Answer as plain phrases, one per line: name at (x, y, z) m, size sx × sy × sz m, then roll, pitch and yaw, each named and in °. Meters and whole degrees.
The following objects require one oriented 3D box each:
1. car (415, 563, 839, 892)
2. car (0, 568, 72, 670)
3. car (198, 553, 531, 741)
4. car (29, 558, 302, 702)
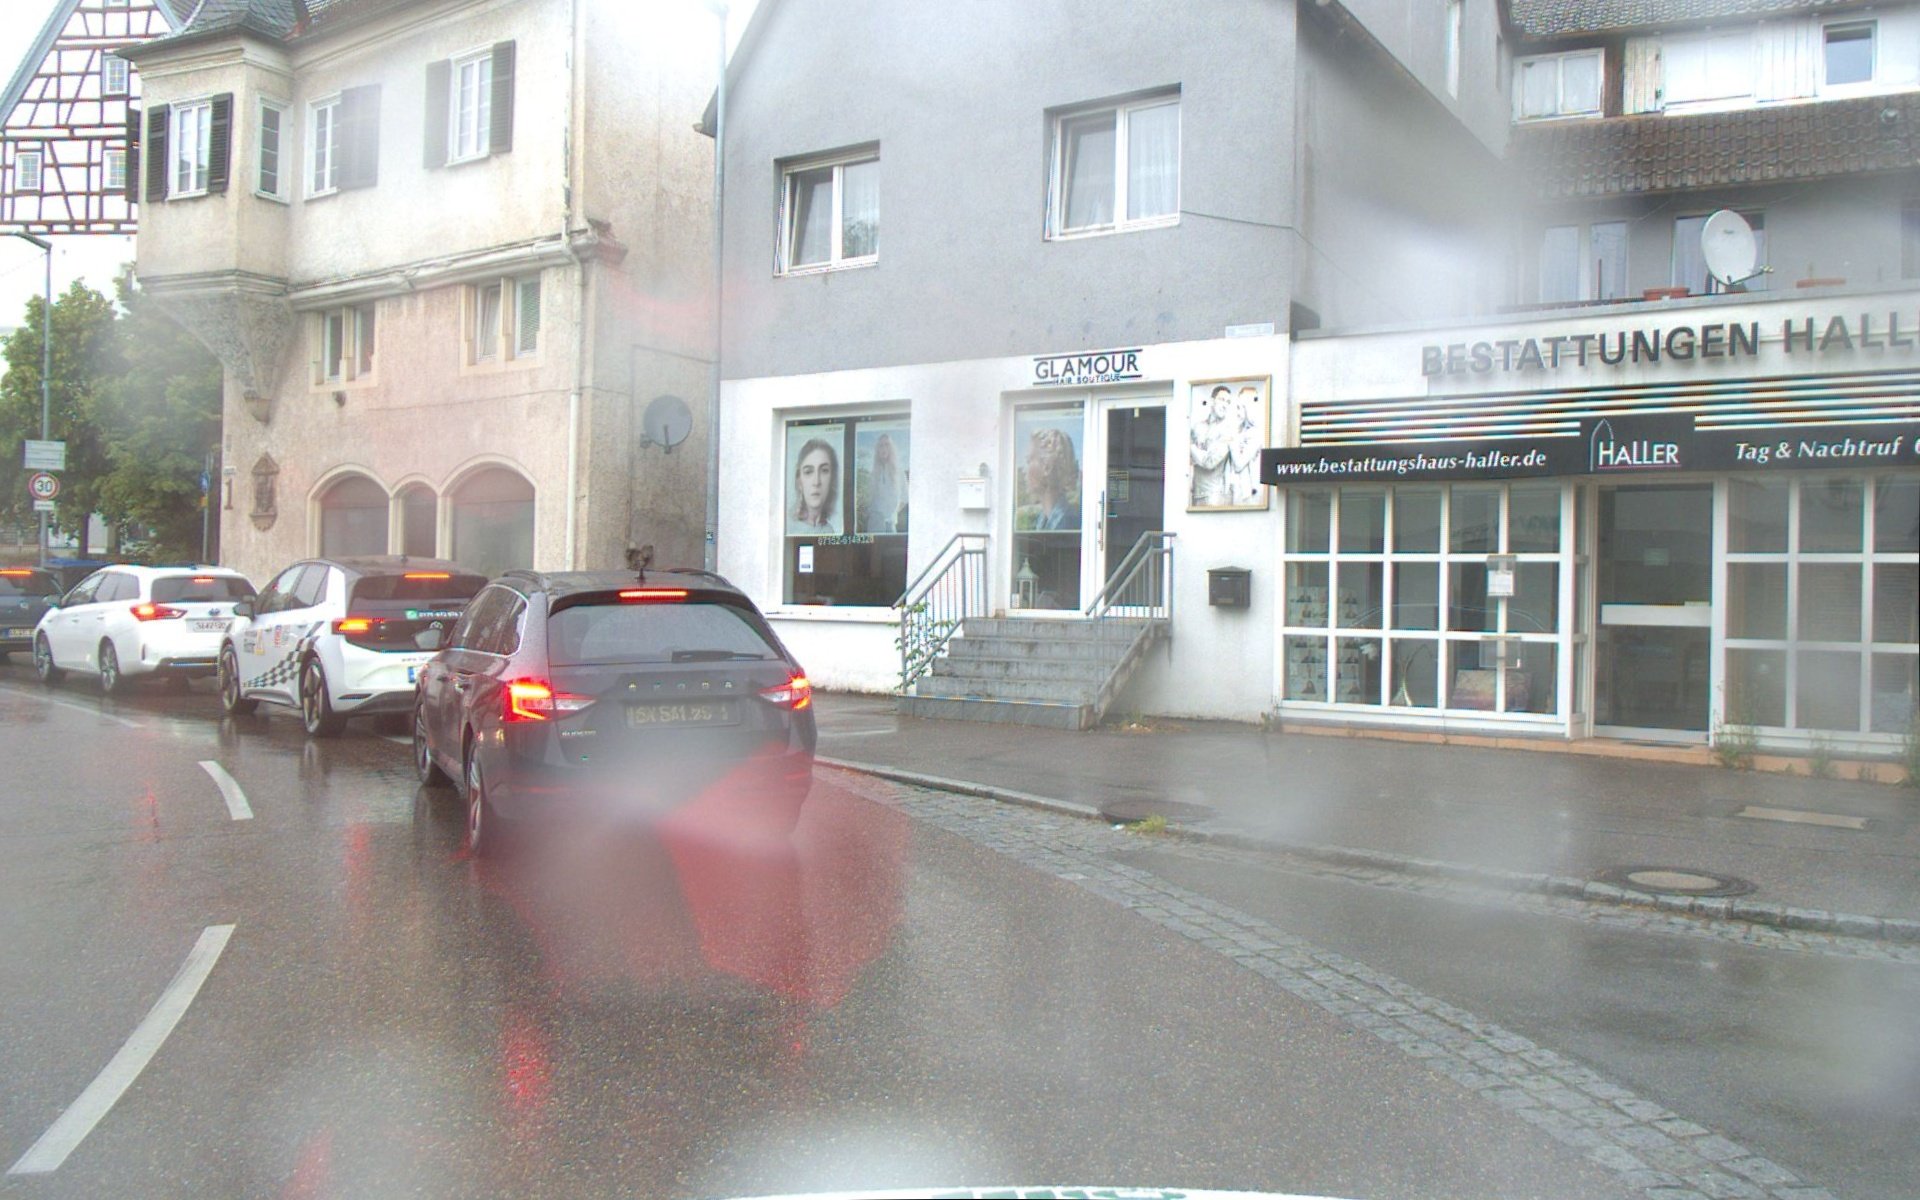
car at (-2.205, 0.541, 9.944) m, size 1.709 × 1.475 × 4.212 m, roll 0°, pitch 2°, yaw -23°
car at (-14.898, 0.242, 24.954) m, size 3.701 × 1.385 × 1.514 m, roll 2°, pitch 3°, yaw 42°
car at (-5.789, 0.344, 15.770) m, size 1.777 × 1.543 × 4.183 m, roll -1°, pitch 2°, yaw -38°
car at (-9.717, 0.275, 20.096) m, size 1.778 × 1.490 × 4.096 m, roll -2°, pitch 3°, yaw -45°
